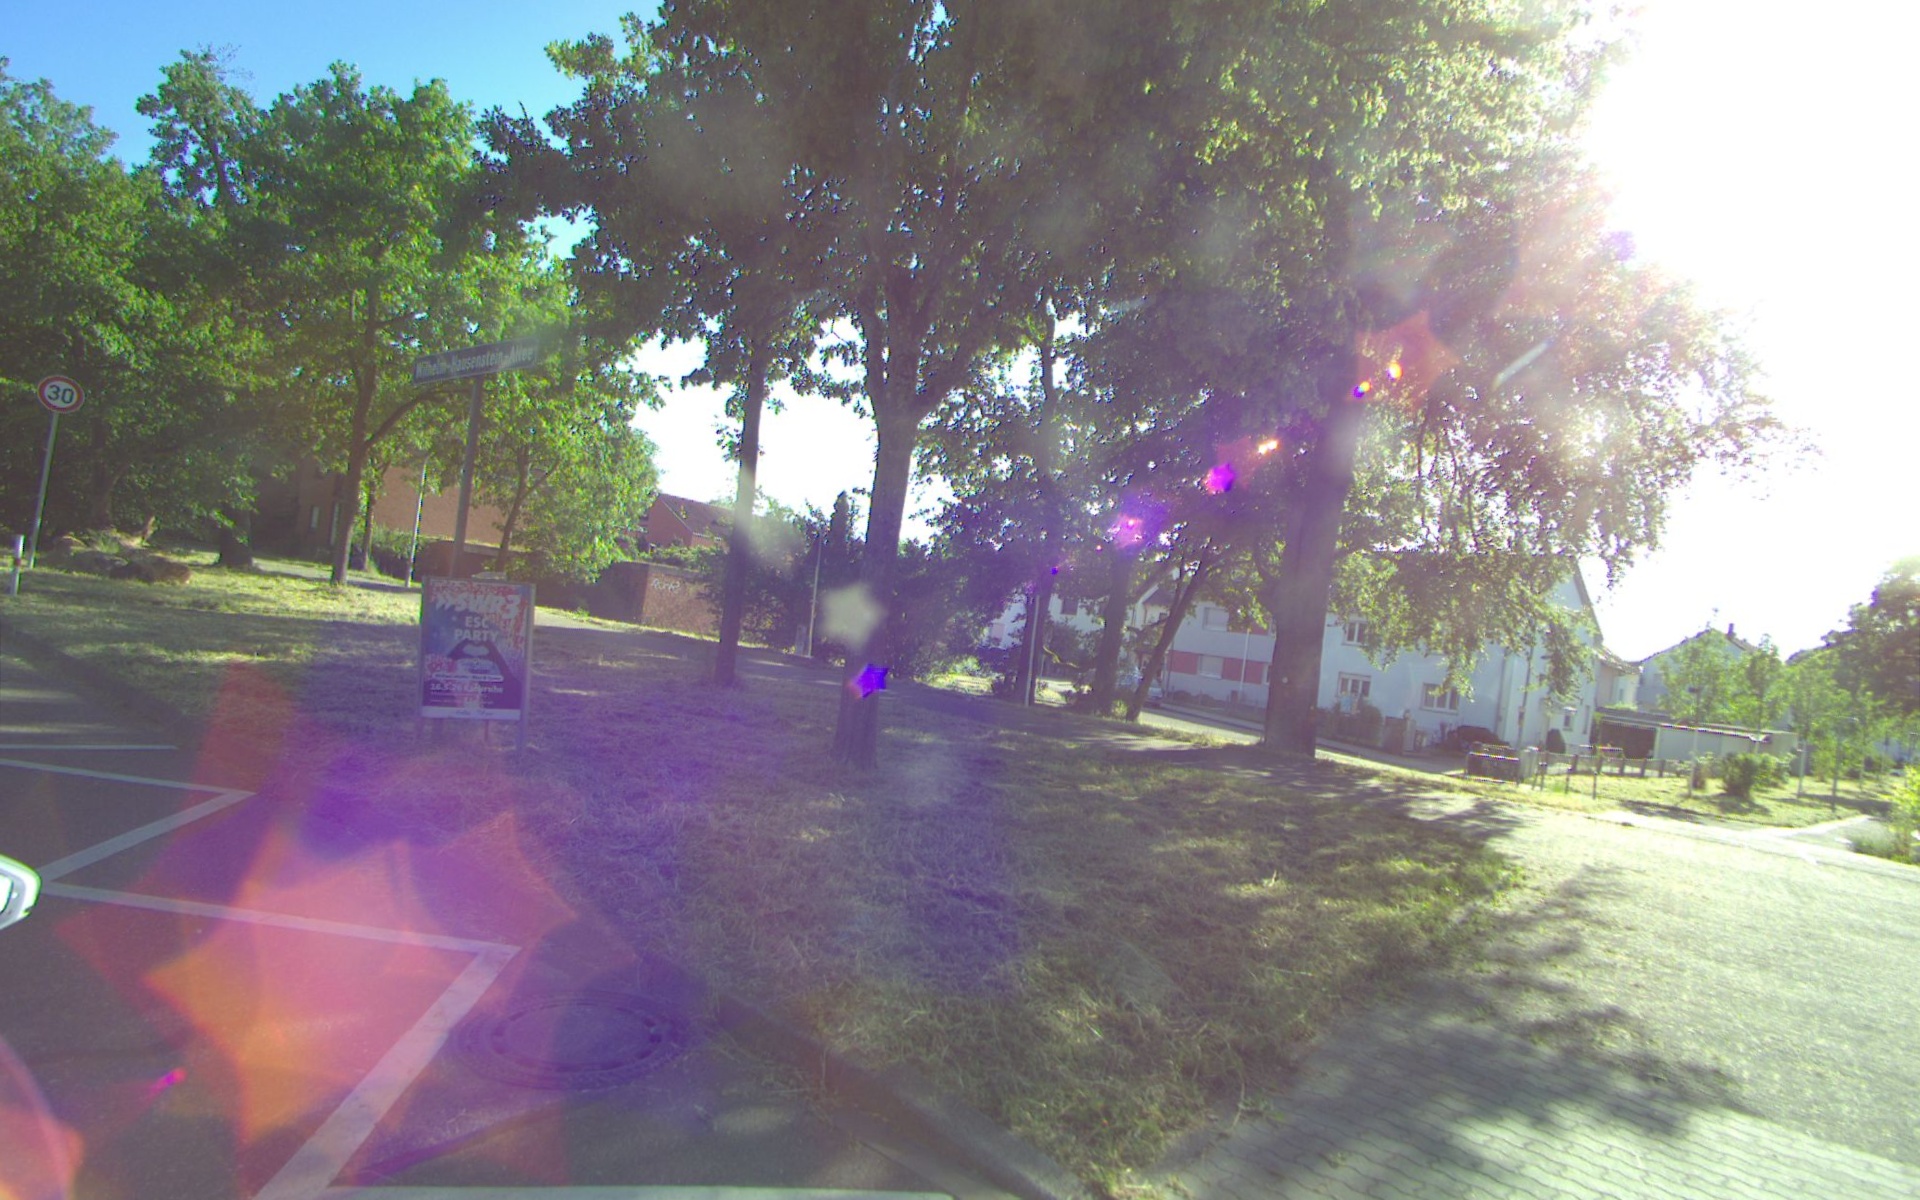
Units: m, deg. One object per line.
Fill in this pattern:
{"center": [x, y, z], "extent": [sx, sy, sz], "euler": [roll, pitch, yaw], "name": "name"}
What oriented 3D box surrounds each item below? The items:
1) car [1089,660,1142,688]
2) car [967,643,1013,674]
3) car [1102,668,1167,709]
{"center": [10.941, 5.204, 70.646], "extent": [3.612, 1.515, 1.436], "euler": [10, -2, -37], "name": "car"}
{"center": [1.977, 3.954, 67.847], "extent": [1.785, 1.634, 3.627], "euler": [9, -2, -18], "name": "car"}
{"center": [8.683, 4.398, 50.247], "extent": [1.512, 1.569, 3.164], "euler": [9, -2, -26], "name": "car"}
